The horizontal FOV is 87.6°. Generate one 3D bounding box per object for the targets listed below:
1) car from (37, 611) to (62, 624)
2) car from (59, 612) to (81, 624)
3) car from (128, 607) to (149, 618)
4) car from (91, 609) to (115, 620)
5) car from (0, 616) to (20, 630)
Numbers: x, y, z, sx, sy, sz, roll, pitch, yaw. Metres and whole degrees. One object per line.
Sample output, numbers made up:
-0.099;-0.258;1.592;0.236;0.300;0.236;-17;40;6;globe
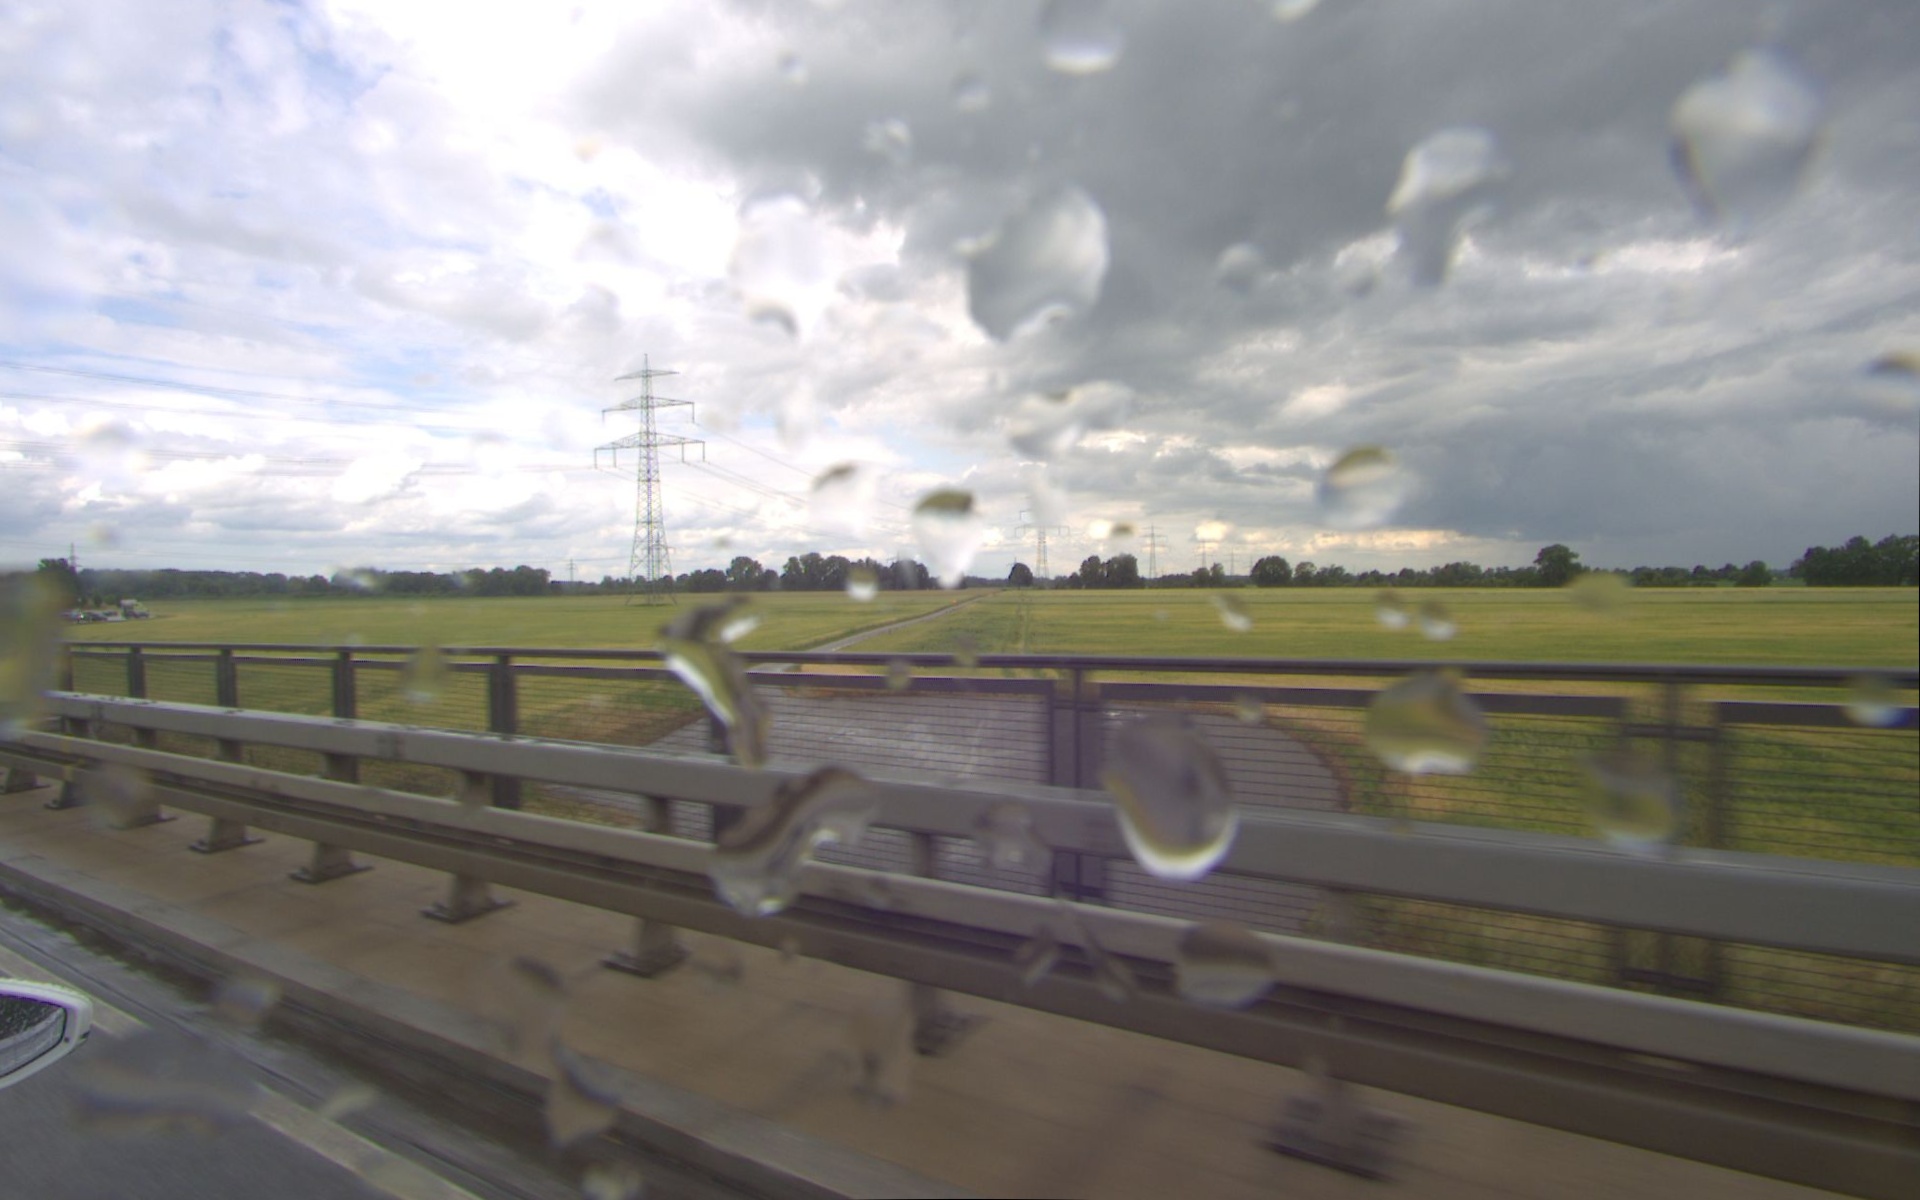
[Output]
-143.514;2.768;157.785;2.202;2.039;3.978;0;-2;-32;car
-147.131;2.982;165.546;1.973;2.039;3.978;0;-2;-32;car
-161.265;2.422;196.485;1.736;2.040;3.993;0;0;-16;car
-151.646;2.578;177.242;1.967;2.039;3.989;0;-2;-22;car
-137.276;3.307;144.131;1.972;2.039;3.979;0;-2;-31;car
